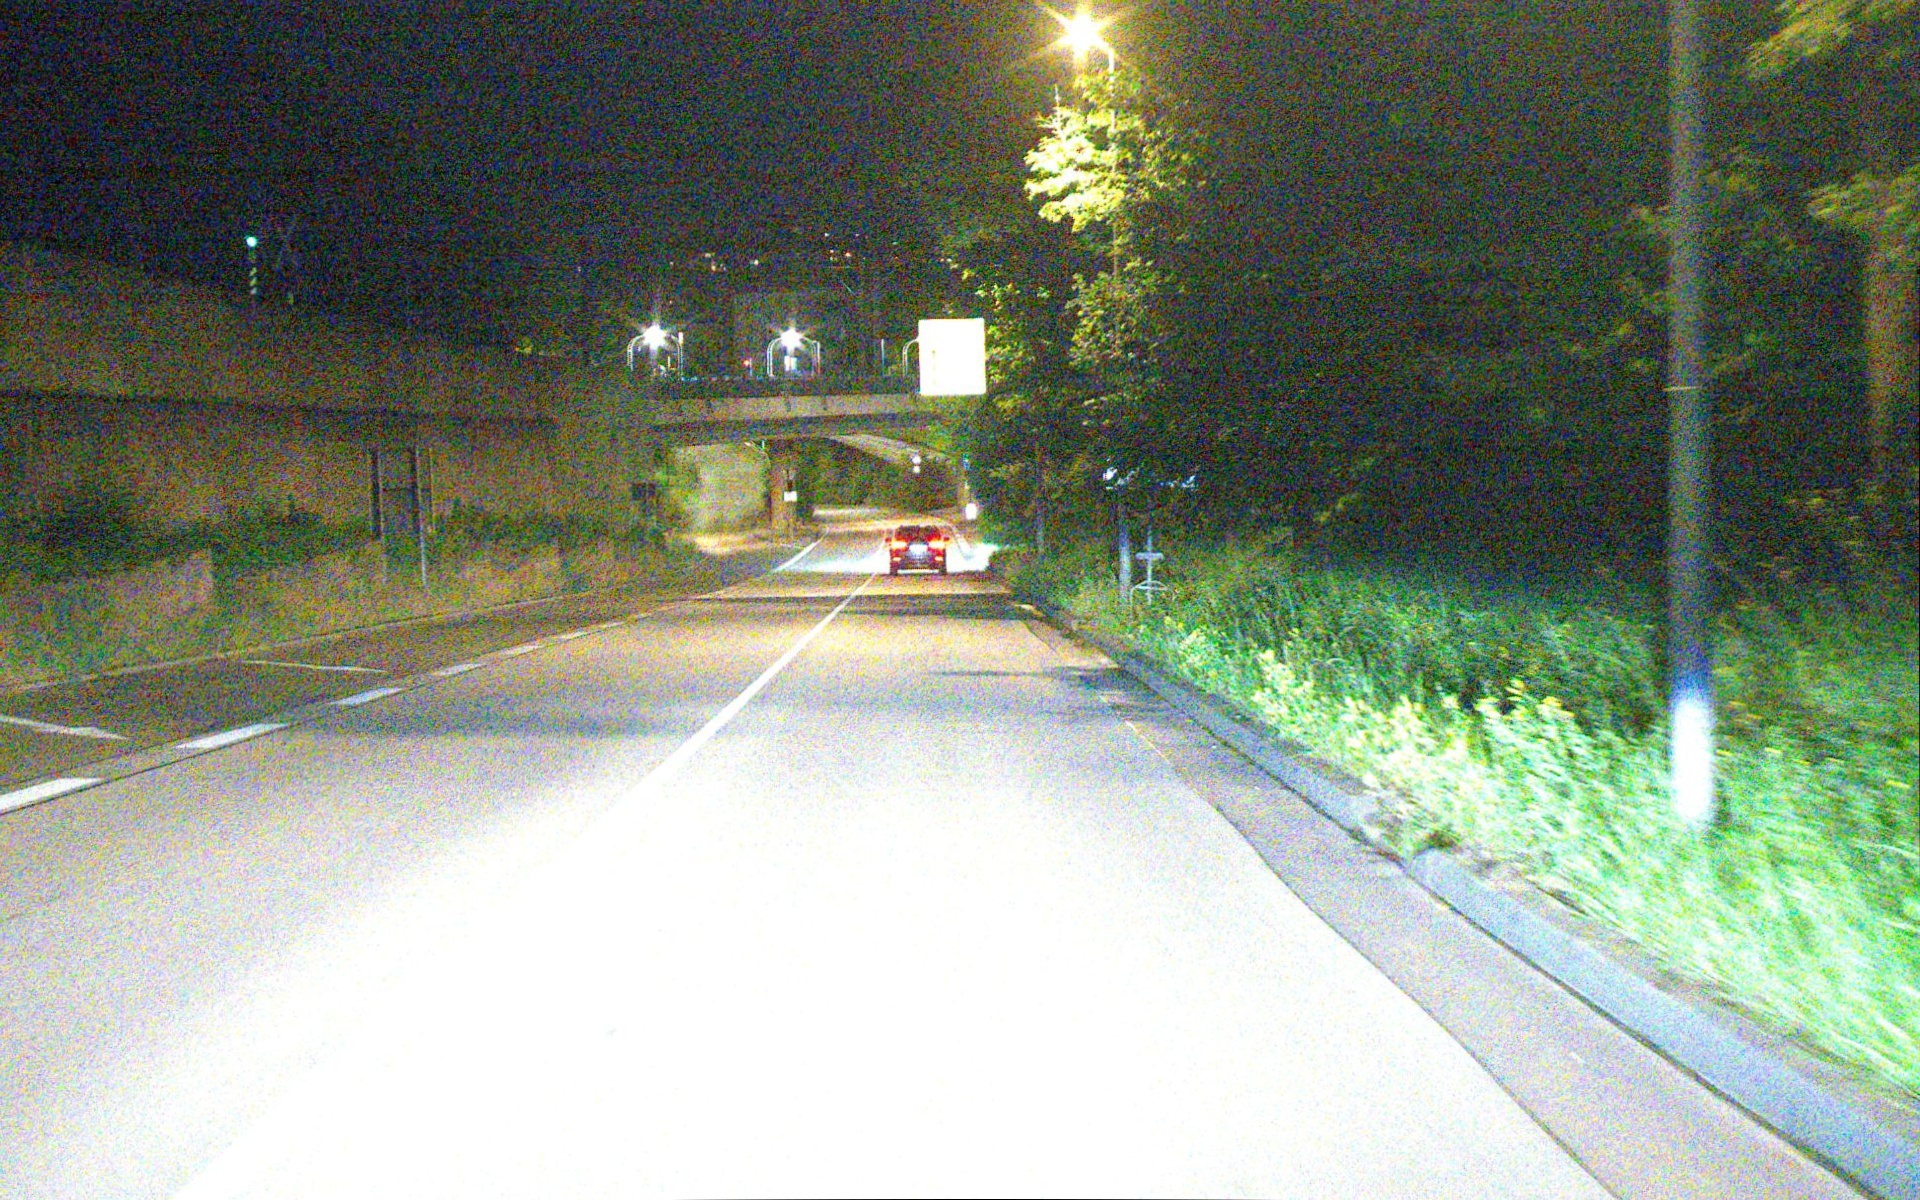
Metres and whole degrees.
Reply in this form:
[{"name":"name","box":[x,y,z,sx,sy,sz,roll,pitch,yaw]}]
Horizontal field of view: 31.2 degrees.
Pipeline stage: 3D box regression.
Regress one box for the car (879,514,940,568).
[{"name":"car","box":[-1.618,-1.894,109.105,1.763,1.636,3.723,0,2,-3]}]
